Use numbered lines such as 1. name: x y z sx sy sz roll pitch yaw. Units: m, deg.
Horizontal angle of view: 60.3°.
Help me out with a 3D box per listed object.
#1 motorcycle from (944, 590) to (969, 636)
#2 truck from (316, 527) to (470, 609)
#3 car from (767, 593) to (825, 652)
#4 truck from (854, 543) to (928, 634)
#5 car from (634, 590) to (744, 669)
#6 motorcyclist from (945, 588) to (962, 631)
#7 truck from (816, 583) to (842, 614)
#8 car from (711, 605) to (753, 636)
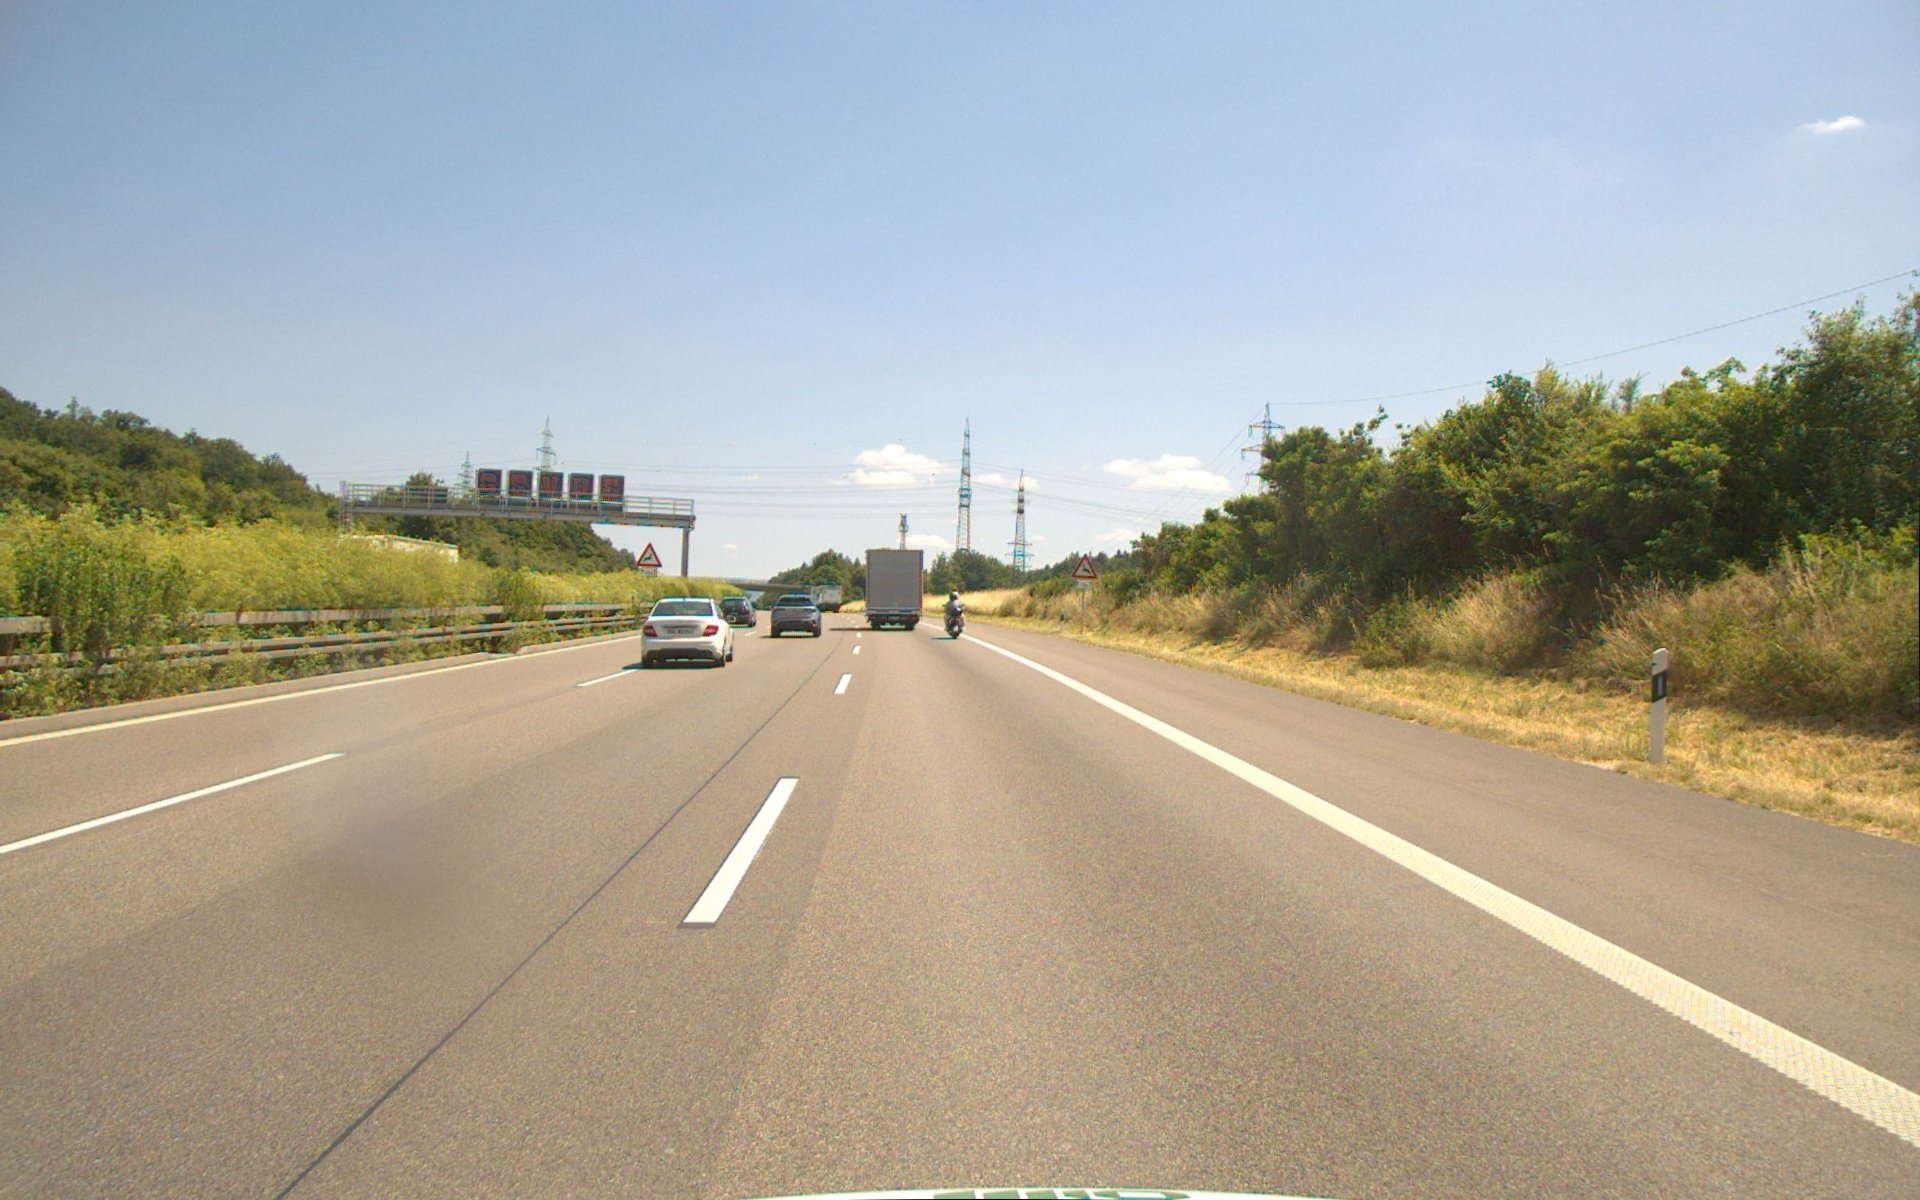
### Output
1. motorcycle: -0.126 0.453 59.288 0.794 1.635 1.781 0 0 -4
2. truck: -27.974 -1.544 82.791 2.750 3.610 16.826 -1 1 -3
3. car: -5.972 0.787 60.605 1.954 2.049 3.998 0 1 -3
4. truck: -3.303 -0.498 76.818 3.158 3.993 9.053 0 0 -4
5. car: -5.750 0.579 35.490 1.783 1.567 3.913 0 1 -2
6. motorcyclist: -0.225 0.329 59.174 0.561 1.505 0.700 0 0 -5
7. truck: -17.711 -0.198 222.942 3.416 3.981 7.281 0 0 -5
8. car: -11.139 0.985 81.056 1.722 1.454 3.997 0 1 -4
